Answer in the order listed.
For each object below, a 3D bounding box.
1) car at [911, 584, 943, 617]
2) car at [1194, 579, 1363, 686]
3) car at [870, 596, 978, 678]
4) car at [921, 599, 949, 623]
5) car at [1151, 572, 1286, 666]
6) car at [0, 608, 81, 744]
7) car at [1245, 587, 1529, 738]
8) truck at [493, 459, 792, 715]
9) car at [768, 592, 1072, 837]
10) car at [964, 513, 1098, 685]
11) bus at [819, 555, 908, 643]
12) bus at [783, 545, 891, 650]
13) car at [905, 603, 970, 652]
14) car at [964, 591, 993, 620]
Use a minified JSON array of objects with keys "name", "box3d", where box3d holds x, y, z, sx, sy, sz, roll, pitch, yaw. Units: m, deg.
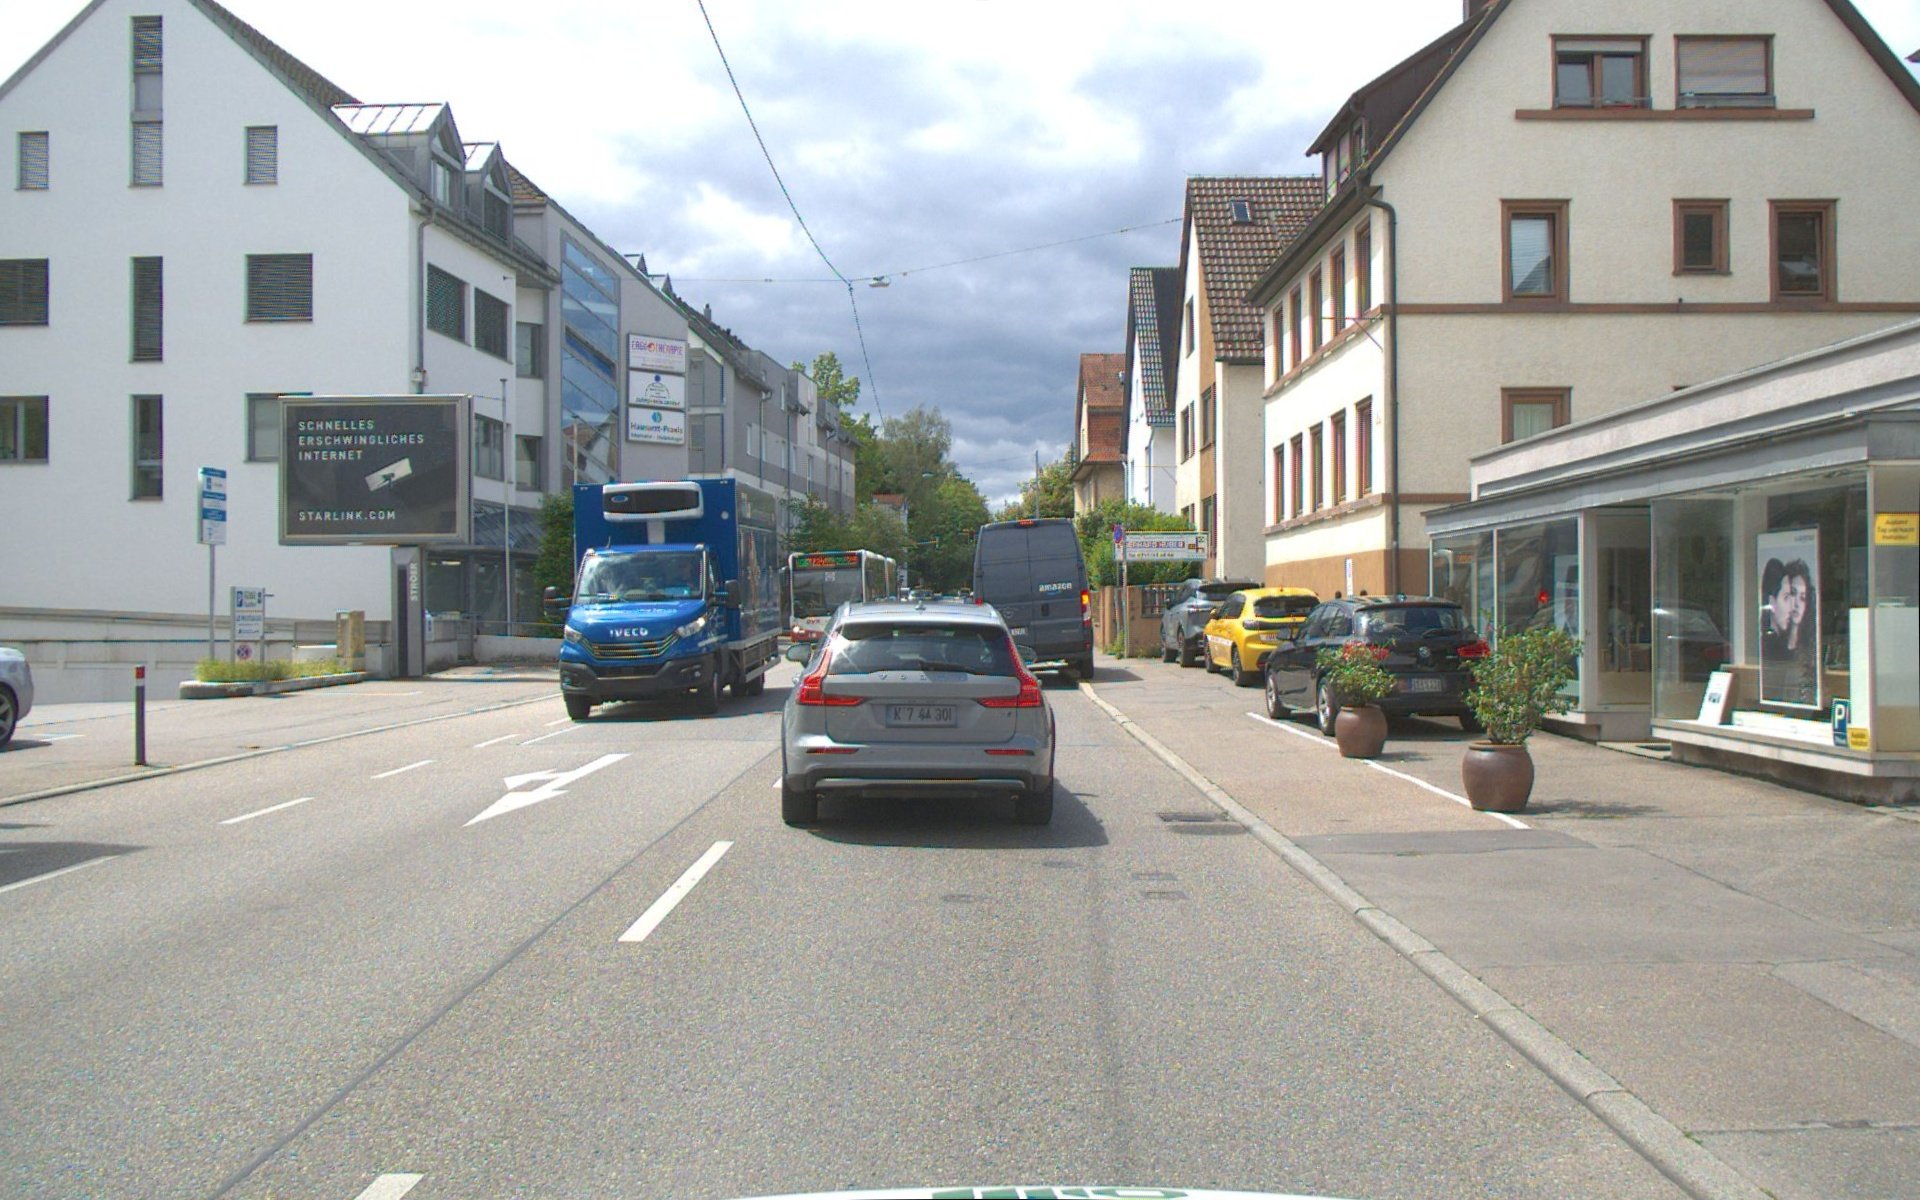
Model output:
[{"name":"car","box3d":[-2.277,0.021,114.868,2.062,2.158,4.765,-2,0,0]},{"name":"car","box3d":[5.146,0.470,27.262,1.839,1.472,4.307,-1,2,-2]},{"name":"car","box3d":[-0.639,0.676,32.217,1.857,1.472,3.969,1,0,2]},{"name":"car","box3d":[-1.862,0.821,125.117,2.062,1.739,4.765,0,0,0]},{"name":"car","box3d":[4.917,0.336,32.051,1.822,1.640,4.585,-2,0,0]},{"name":"car","box3d":[-10.880,0.791,15.979,1.910,1.381,4.858,0,0,4]},{"name":"car","box3d":[4.648,0.615,18.753,1.928,1.473,4.534,-1,0,-2]},{"name":"truck","box3d":[-4.350,-0.159,24.545,2.795,3.147,8.089,-1,0,0]},{"name":"car","box3d":[-0.177,0.694,12.146,1.857,1.479,3.969,1,0,2]},{"name":"car","box3d":[1.296,-0.012,30.373,2.206,2.844,5.571,-1,0,2]},{"name":"bus","box3d":[-3.703,-0.041,65.260,2.659,3.219,8.071,-1,0,3]},{"name":"bus","box3d":[-4.010,-0.070,56.182,2.626,3.219,10.186,-1,0,1]},{"name":"car","box3d":[-0.684,0.850,53.158,1.857,1.472,3.969,1,0,2]},{"name":"car","box3d":[1.345,0.398,119.781,1.952,2.049,4.001,0,0,2]}]
